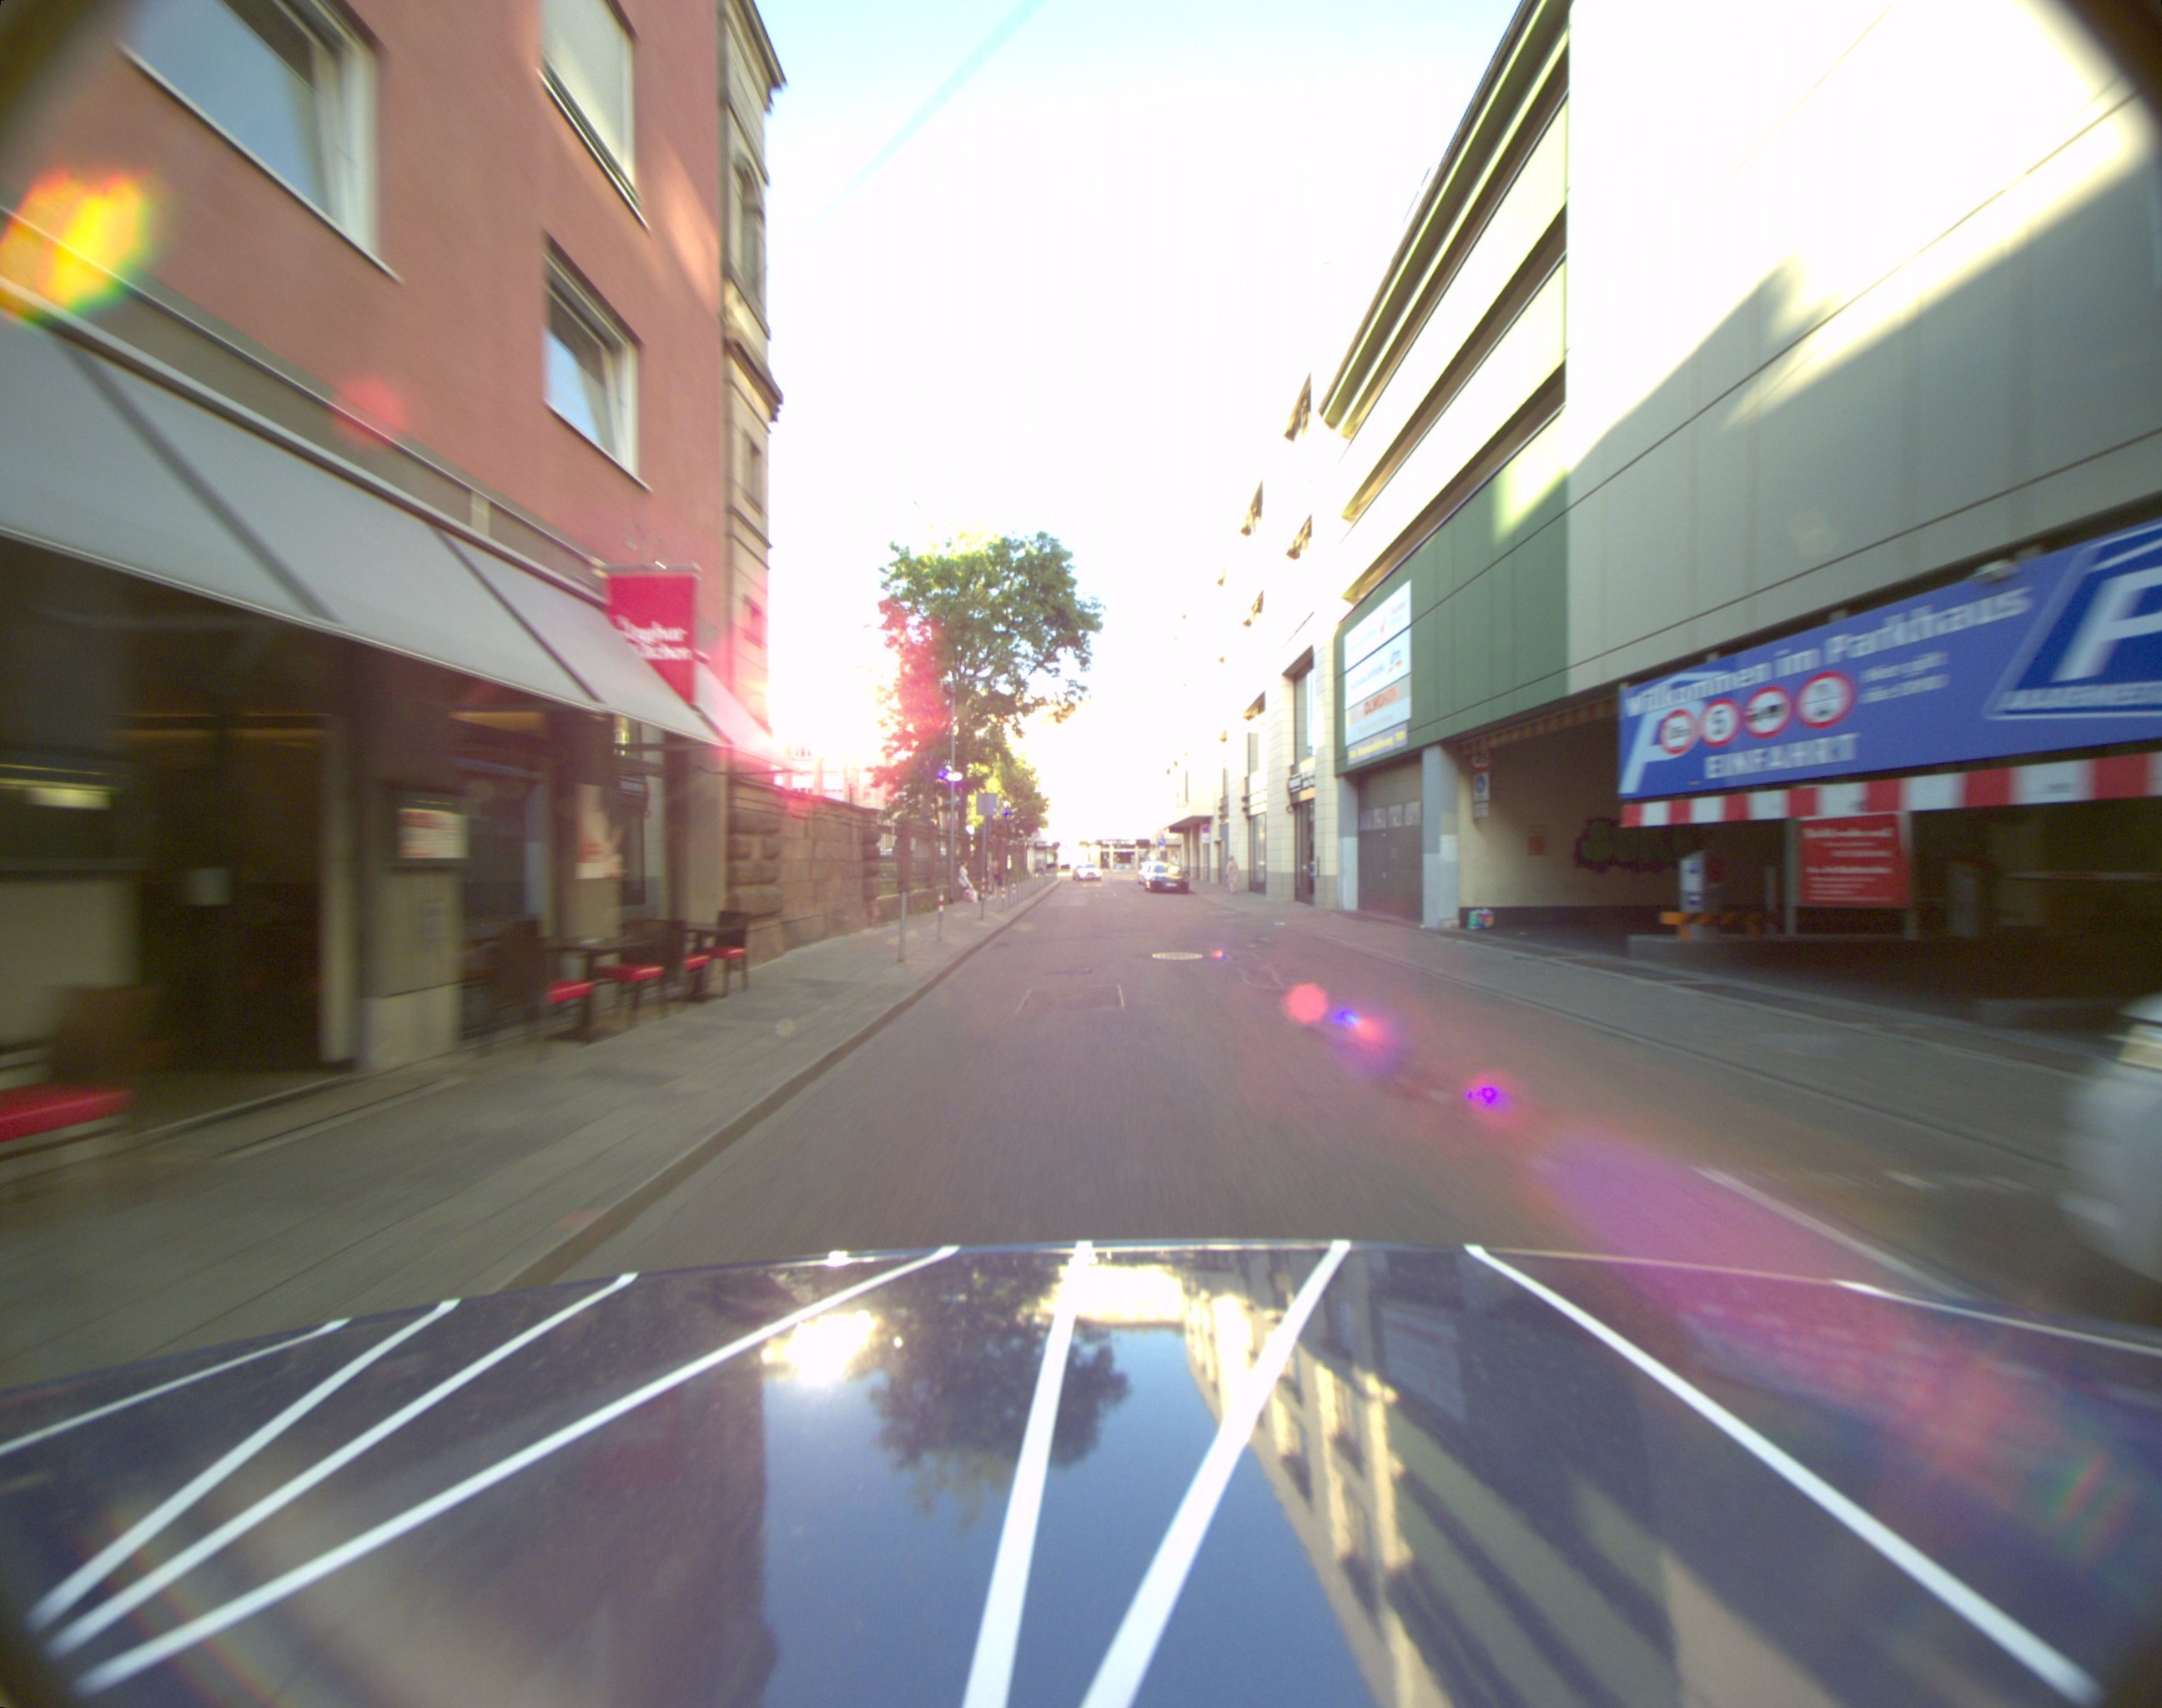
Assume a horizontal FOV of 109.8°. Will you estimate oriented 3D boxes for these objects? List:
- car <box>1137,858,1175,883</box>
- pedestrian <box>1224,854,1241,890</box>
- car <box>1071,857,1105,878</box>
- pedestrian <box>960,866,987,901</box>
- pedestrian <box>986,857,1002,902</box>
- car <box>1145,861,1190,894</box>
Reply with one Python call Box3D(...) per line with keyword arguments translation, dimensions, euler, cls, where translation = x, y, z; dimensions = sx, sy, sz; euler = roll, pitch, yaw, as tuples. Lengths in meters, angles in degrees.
Box3D(translation=(4.613, 1.001, 47.397), dimensions=(1.818, 1.440, 3.628), euler=(0, 0, -4), cls="car")
Box3D(translation=(6.999, 0.838, 35.115), dimensions=(0.620, 1.616, 0.565), euler=(-1, 0, 1), cls="pedestrian")
Box3D(translation=(0.508, 1.013, 58.148), dimensions=(1.790, 1.515, 3.997), euler=(-2, 0, -10), cls="car")
Box3D(translation=(-3.933, 1.081, 27.902), dimensions=(0.928, 1.242, 0.362), euler=(1, 0, -2), cls="pedestrian")
Box3D(translation=(-3.208, 0.945, 28.094), dimensions=(0.437, 1.637, 0.558), euler=(1, 0, 8), cls="pedestrian")
Box3D(translation=(4.298, 1.132, 38.218), dimensions=(1.998, 1.409, 4.559), euler=(1, 1, 4), cls="car")
